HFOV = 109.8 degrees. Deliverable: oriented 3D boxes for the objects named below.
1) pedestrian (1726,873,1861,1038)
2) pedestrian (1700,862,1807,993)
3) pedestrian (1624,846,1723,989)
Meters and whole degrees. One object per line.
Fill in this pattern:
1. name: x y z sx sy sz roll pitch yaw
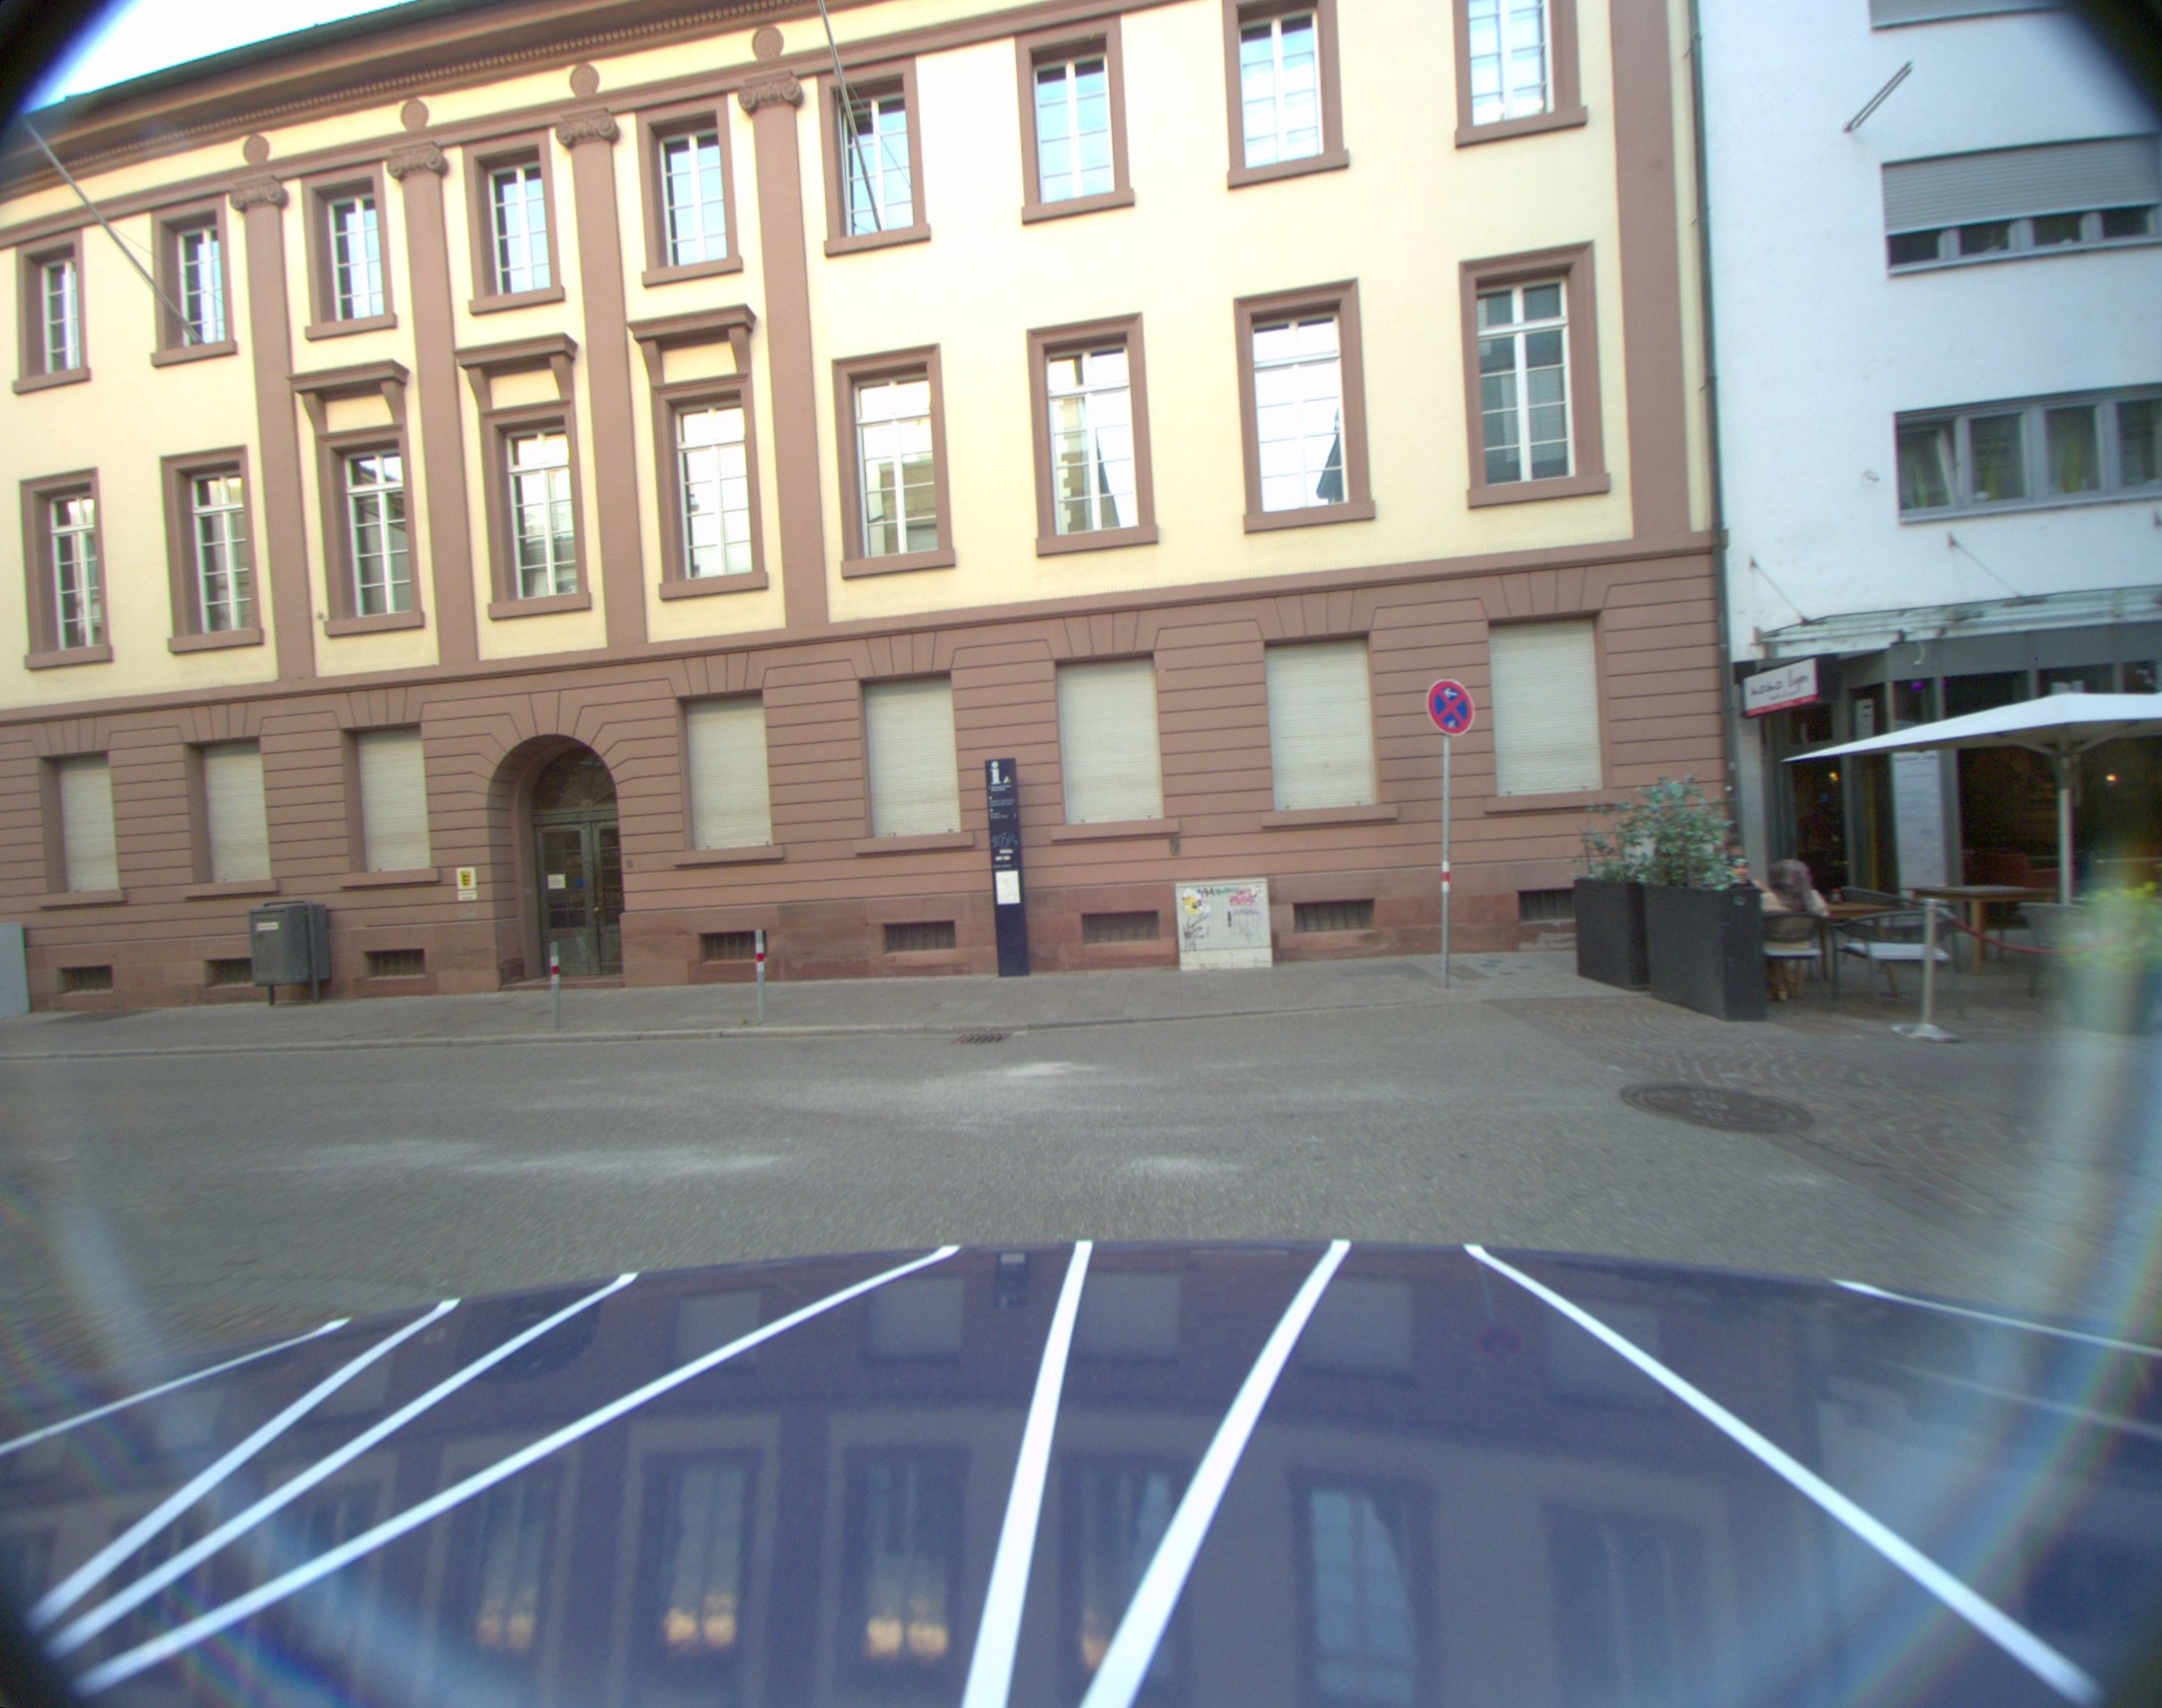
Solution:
1. pedestrian: 5.518 0.770 5.911 0.561 1.204 0.461 -3 1 10
2. pedestrian: 6.565 0.703 7.435 0.548 1.204 0.524 -3 1 10
3. pedestrian: 5.831 0.609 7.501 0.548 1.341 0.489 -3 1 10
